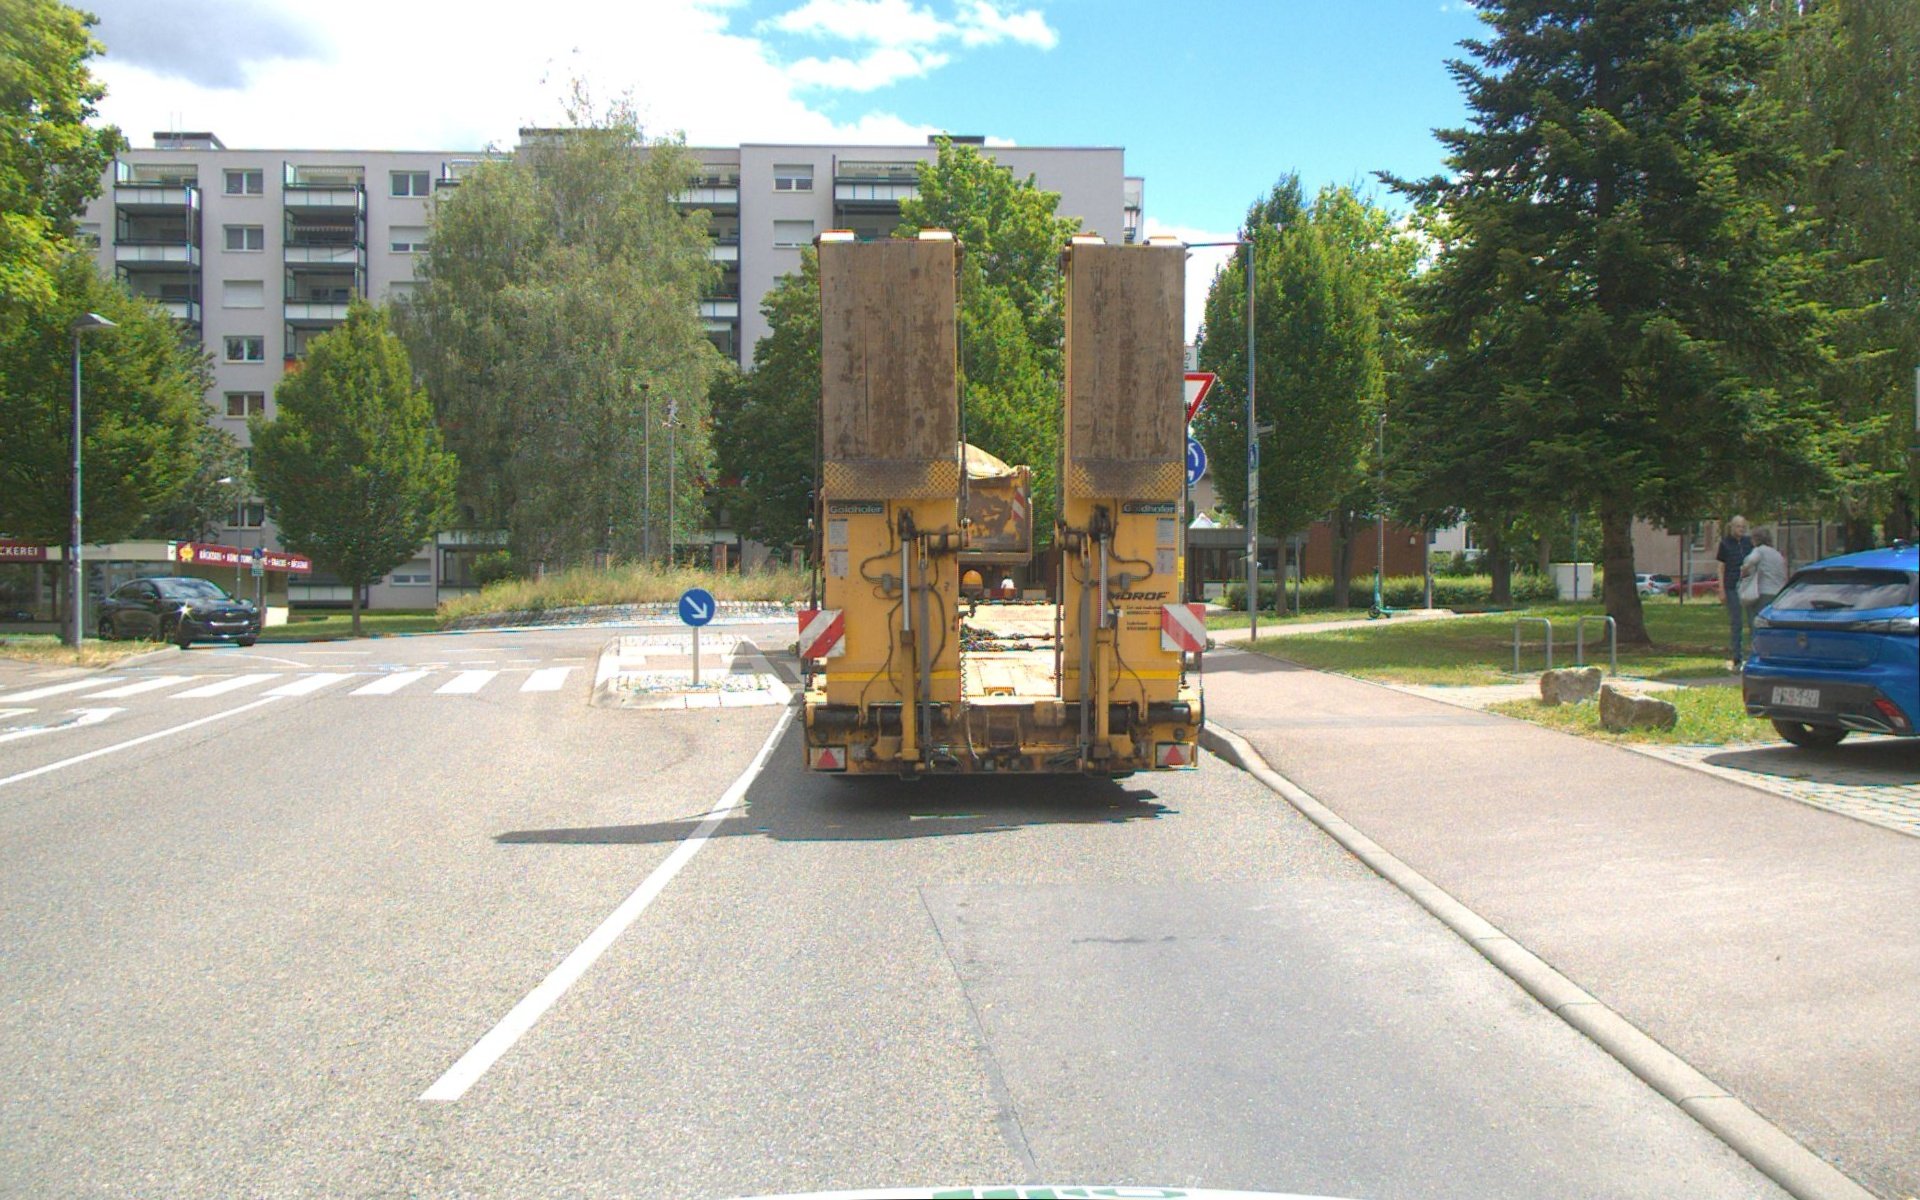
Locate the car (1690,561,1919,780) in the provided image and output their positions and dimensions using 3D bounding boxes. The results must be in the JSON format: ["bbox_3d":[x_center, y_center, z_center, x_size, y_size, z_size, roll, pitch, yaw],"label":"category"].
[{"bbox_3d":[7.778,0.339,11.807,4.409,1.265,1.992,-4,2,-15],"label":"car"}]

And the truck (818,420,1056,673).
[{"bbox_3d":[-0.639,-0.827,24.843,2.930,3.087,8.479,1,2,-5],"label":"truck"}]

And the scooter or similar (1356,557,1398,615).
[{"bbox_3d":[10.051,-0.344,39.836,0.476,1.366,1.384,-1,1,35],"label":"scooter or similar"}]

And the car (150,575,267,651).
[{"bbox_3d":[-16.874,0.252,37.025,1.972,1.552,4.480,-1,1,-29],"label":"car"}]

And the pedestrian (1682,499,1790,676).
[{"bbox_3d":[9.290,-0.155,19.825,0.642,2.049,1.043,-1,1,-14],"label":"pedestrian"}]

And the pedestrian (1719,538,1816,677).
[{"bbox_3d":[9.254,0.075,18.973,0.728,1.556,0.690,-1,1,-10],"label":"pedestrian"}]

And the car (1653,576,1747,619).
[{"bbox_3d":[35.712,-0.151,79.915,1.980,1.975,3.981,1,1,-17],"label":"car"}]

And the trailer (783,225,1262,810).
[{"bbox_3d":[0.180,-0.625,15.277,2.806,3.431,10.838,1,2,-2],"label":"trailer"}]
